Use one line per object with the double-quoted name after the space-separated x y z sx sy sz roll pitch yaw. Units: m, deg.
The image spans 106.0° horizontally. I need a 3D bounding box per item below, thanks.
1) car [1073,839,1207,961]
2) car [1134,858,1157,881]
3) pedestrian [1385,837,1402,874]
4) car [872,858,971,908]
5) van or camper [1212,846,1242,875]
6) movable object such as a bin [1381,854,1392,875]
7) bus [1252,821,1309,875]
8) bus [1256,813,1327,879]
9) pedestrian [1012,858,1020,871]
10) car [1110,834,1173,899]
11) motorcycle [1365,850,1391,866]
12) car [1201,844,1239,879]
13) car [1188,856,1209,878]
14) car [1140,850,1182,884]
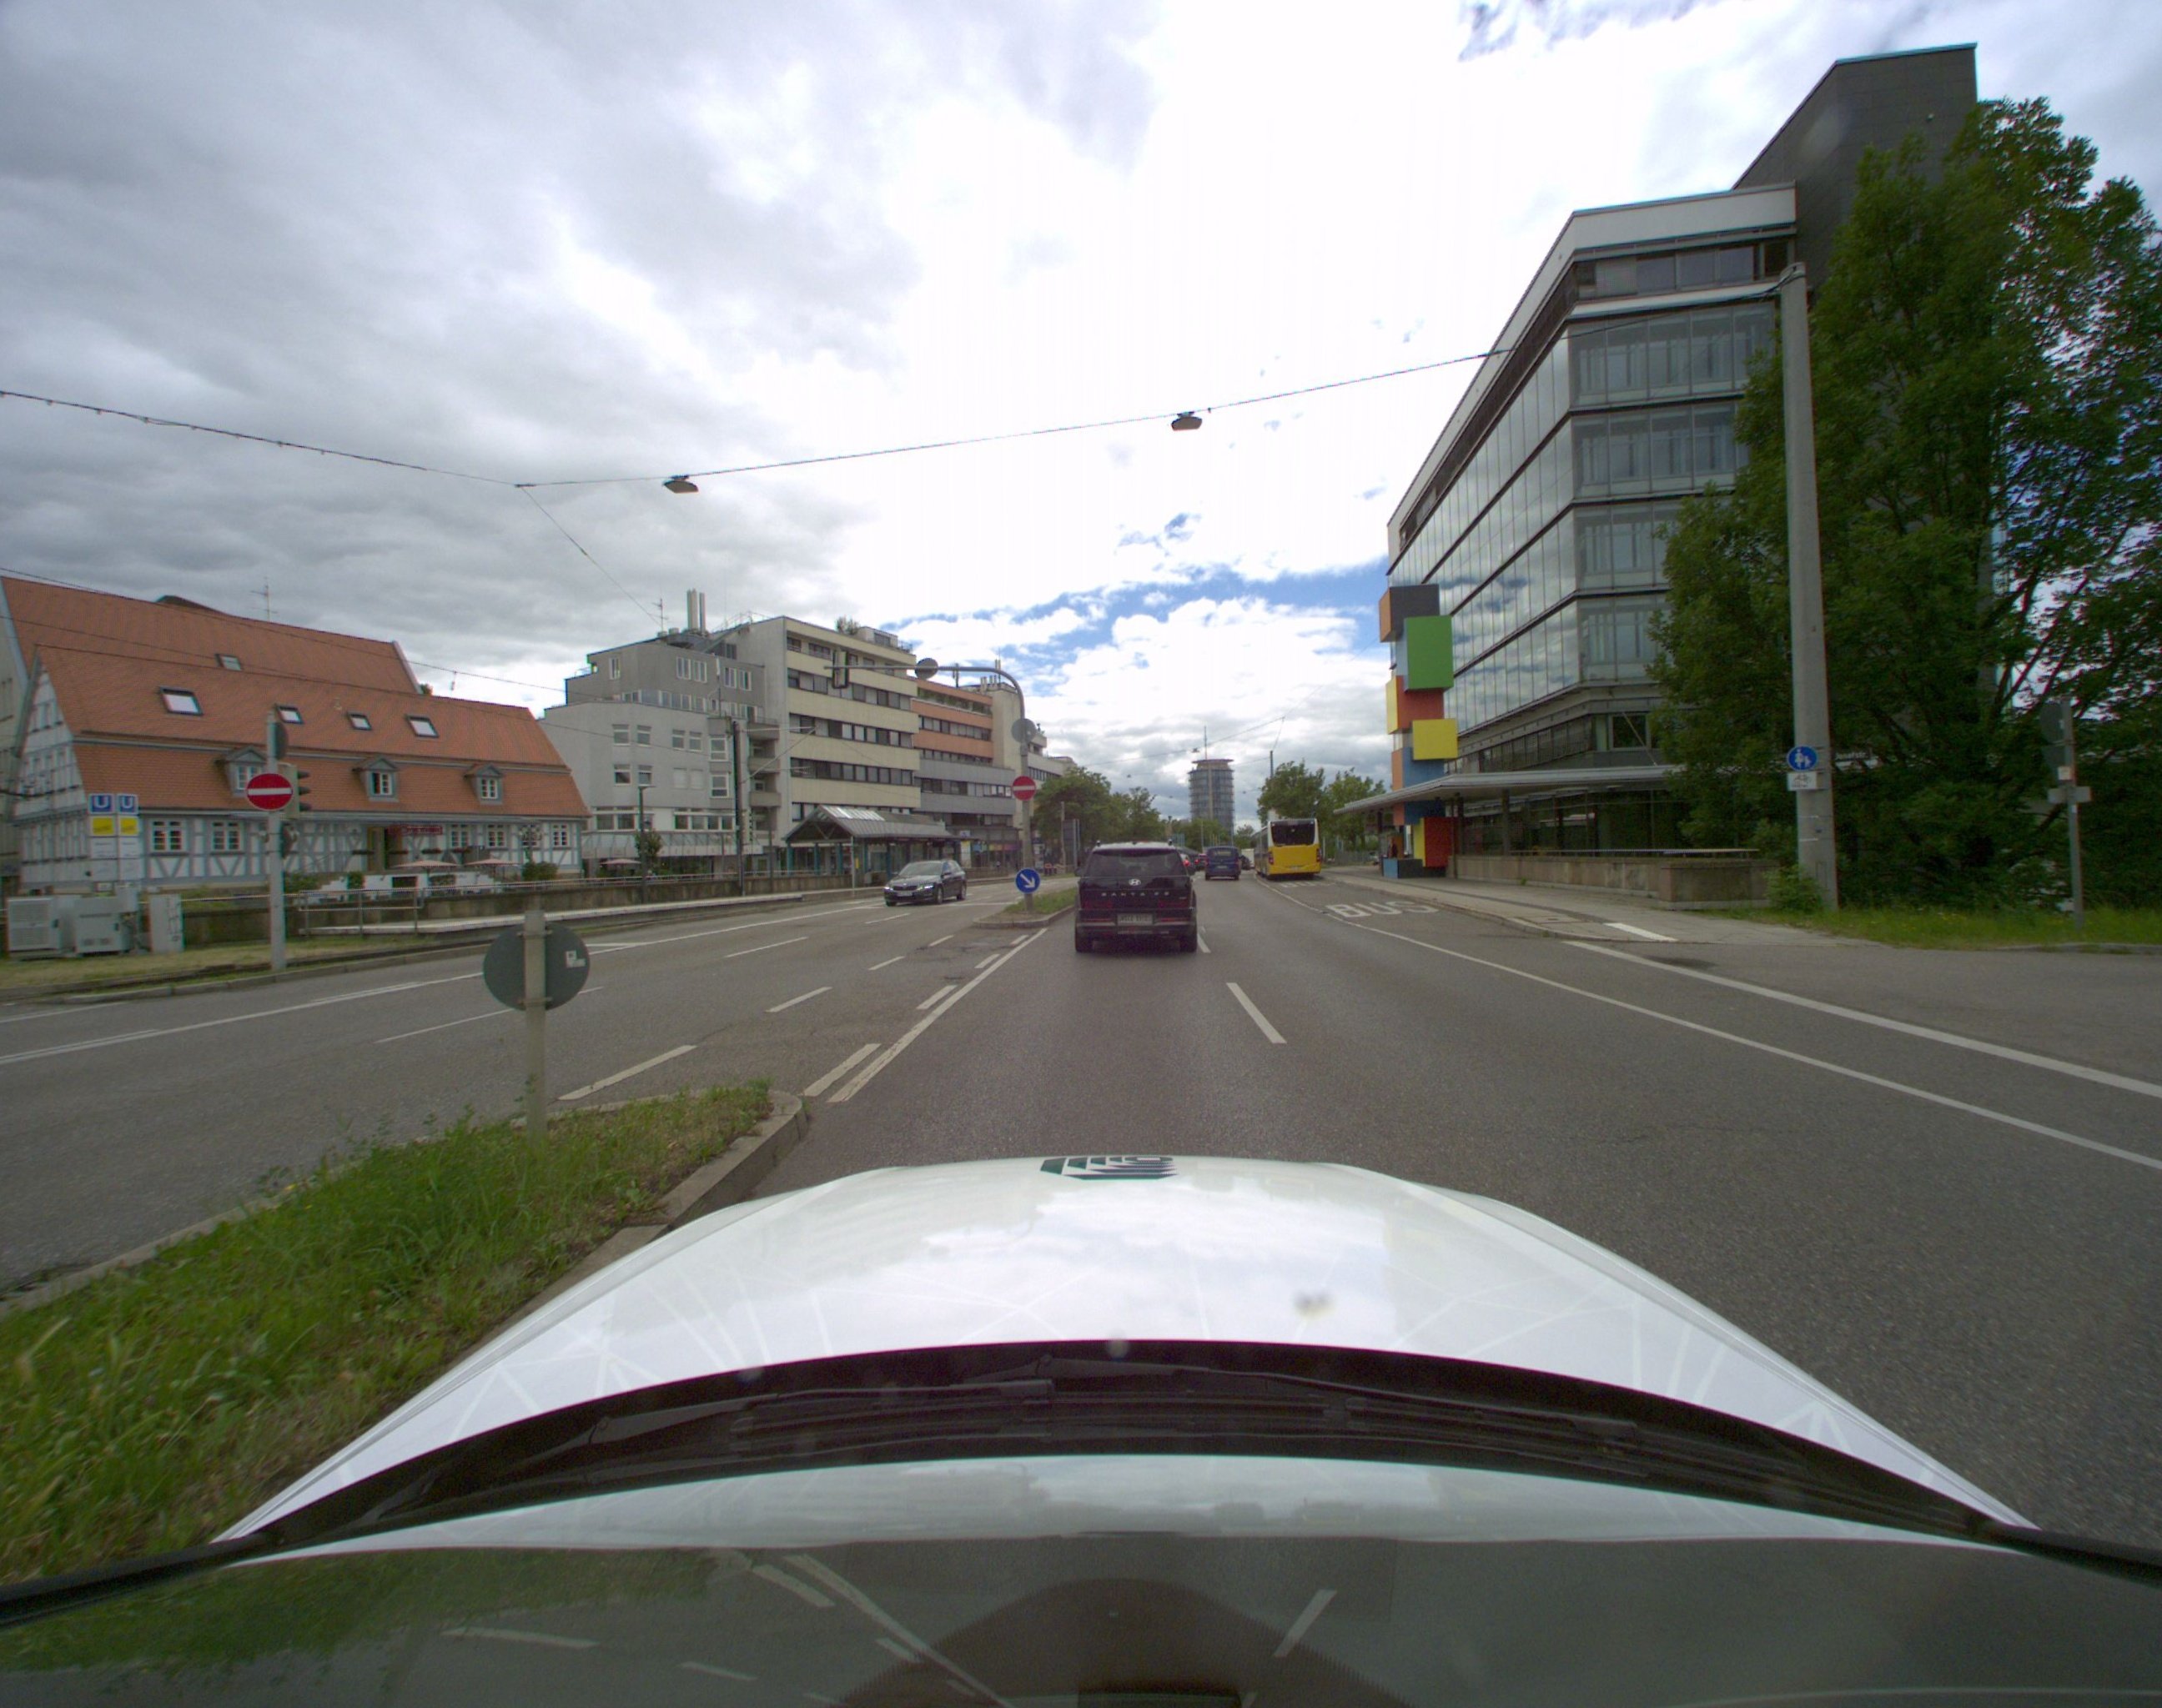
0.816 0.620 13.838 1.896 1.731 4.445 0 1 -1 "car"
6.051 1.419 75.612 1.892 1.929 4.719 0 1 7 "car"
14.207 0.060 37.068 0.521 1.673 0.735 -2 0 9 "pedestrian"
-5.193 0.905 27.229 1.788 1.455 4.622 -2 0 8 "car"
10.517 0.405 58.836 1.982 1.917 4.420 -1 1 8 "van or camper"
13.702 0.466 36.514 0.354 0.897 0.463 -2 0 9 "movable object such as a bin"
13.038 -0.383 53.994 2.933 3.111 10.005 -3 0 10 "bus"
11.317 -0.378 44.609 2.948 3.116 9.270 -3 0 10 "bus"
-8.387 1.342 105.068 0.723 1.673 0.586 -2 -1 29 "pedestrian"
2.014 0.350 26.995 1.893 1.968 4.642 0 1 4 "car"
21.709 0.306 59.562 0.636 1.070 1.762 -2 0 -30 "motorcycle"
7.852 0.385 46.365 1.892 1.859 4.719 0 1 7 "car"
11.156 1.205 77.069 1.891 1.859 4.722 0 1 9 "car"
3.923 0.623 40.696 1.894 1.542 4.714 0 1 3 "car"
